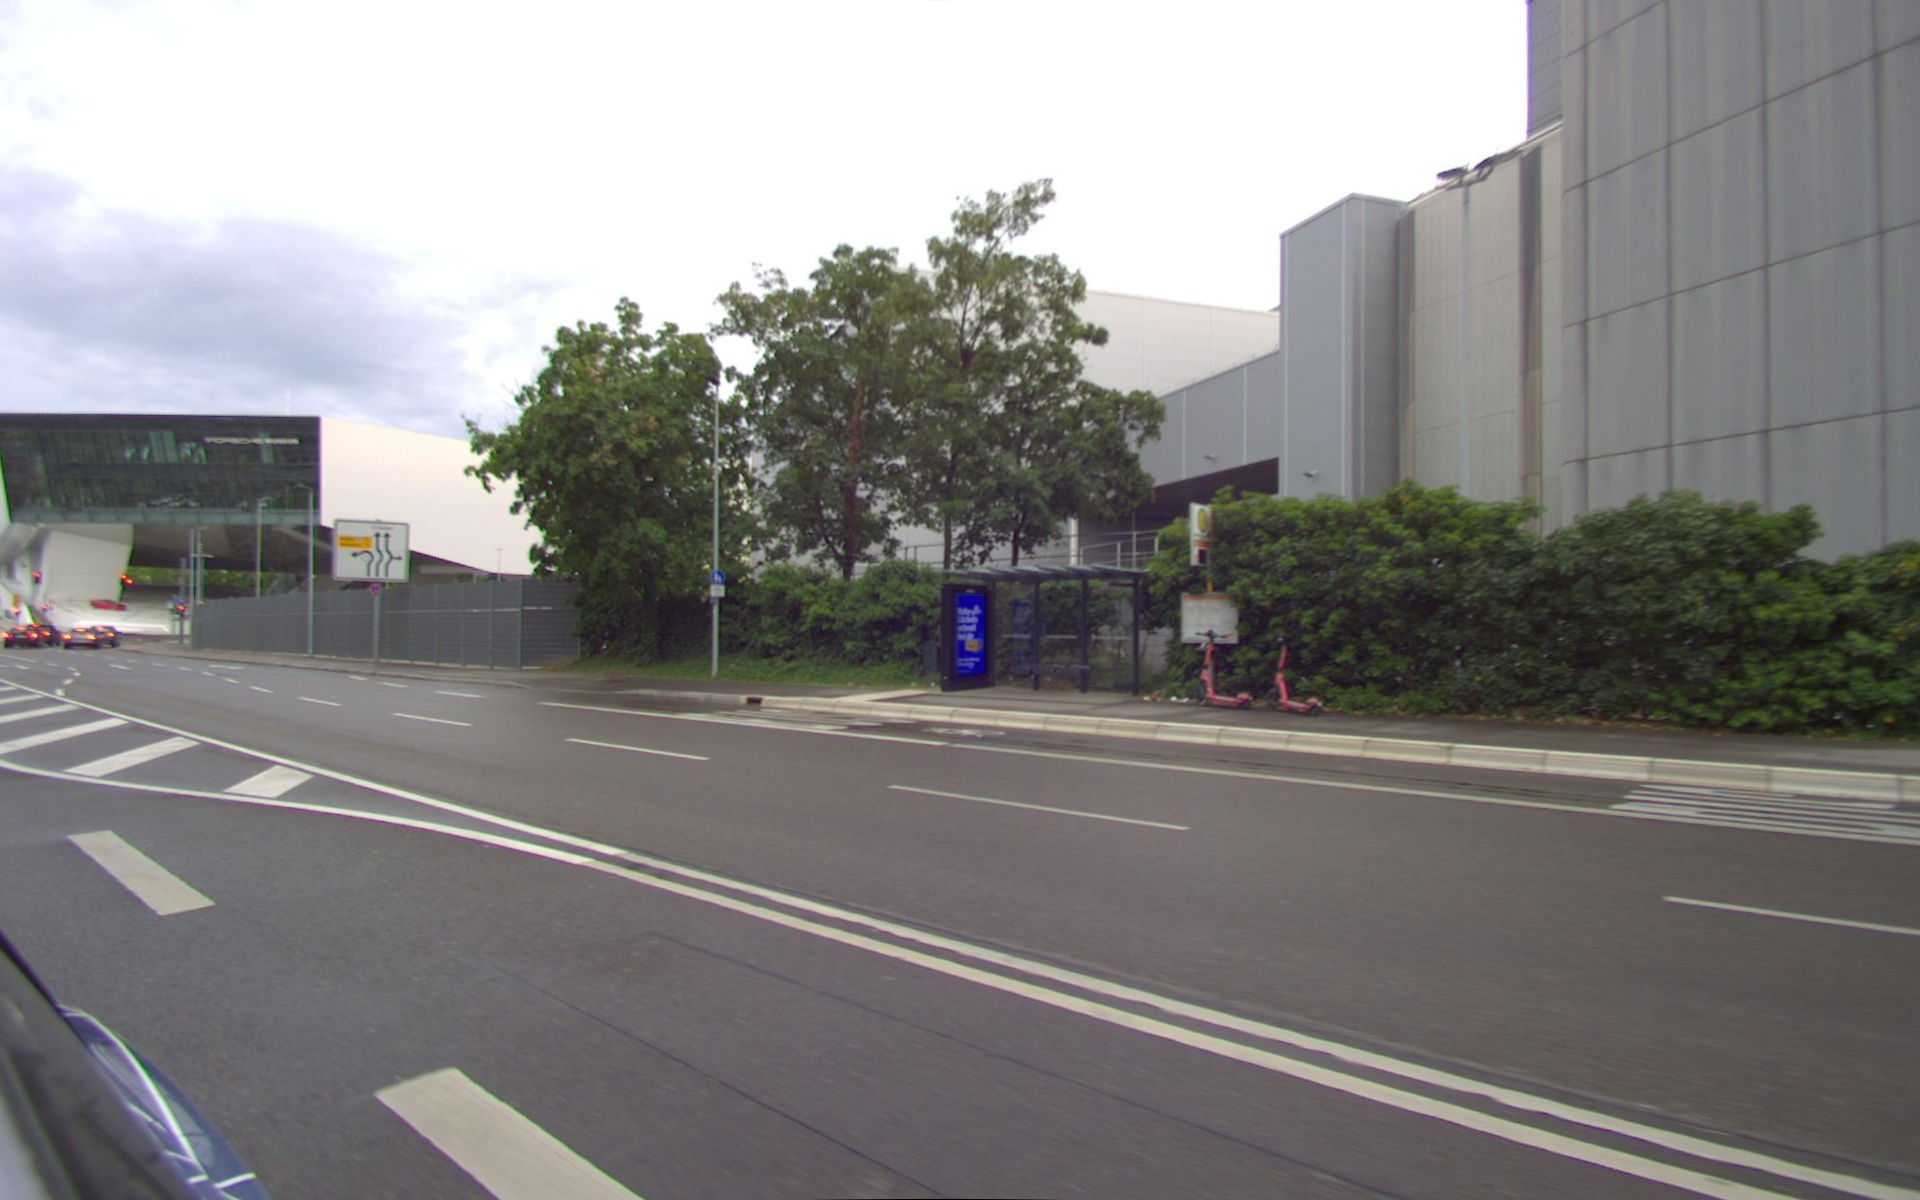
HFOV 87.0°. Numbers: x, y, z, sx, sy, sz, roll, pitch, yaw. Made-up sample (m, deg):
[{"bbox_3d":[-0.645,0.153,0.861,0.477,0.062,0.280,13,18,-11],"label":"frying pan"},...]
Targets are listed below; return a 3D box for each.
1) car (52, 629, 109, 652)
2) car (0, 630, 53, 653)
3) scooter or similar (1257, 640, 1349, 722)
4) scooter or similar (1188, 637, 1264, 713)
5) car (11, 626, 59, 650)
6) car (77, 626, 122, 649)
[{"bbox_3d":[-59.511,2.732,68.573,2.233,1.488,4.059,1,-2,-31],"label":"car"},{"bbox_3d":[-62.630,2.773,67.727,2.221,1.488,3.890,1,-2,-31],"label":"car"},{"bbox_3d":[5.283,1.229,15.662,0.373,1.190,1.381,1,-2,-35],"label":"scooter or similar"},{"bbox_3d":[4.385,1.220,16.724,0.383,1.189,1.253,1,-2,-35],"label":"scooter or similar"},{"bbox_3d":[-65.805,2.669,72.067,1.850,1.663,3.863,1,-2,-33],"label":"car"},{"bbox_3d":[-63.414,2.728,74.618,1.834,1.663,3.799,1,-2,-30],"label":"car"}]
